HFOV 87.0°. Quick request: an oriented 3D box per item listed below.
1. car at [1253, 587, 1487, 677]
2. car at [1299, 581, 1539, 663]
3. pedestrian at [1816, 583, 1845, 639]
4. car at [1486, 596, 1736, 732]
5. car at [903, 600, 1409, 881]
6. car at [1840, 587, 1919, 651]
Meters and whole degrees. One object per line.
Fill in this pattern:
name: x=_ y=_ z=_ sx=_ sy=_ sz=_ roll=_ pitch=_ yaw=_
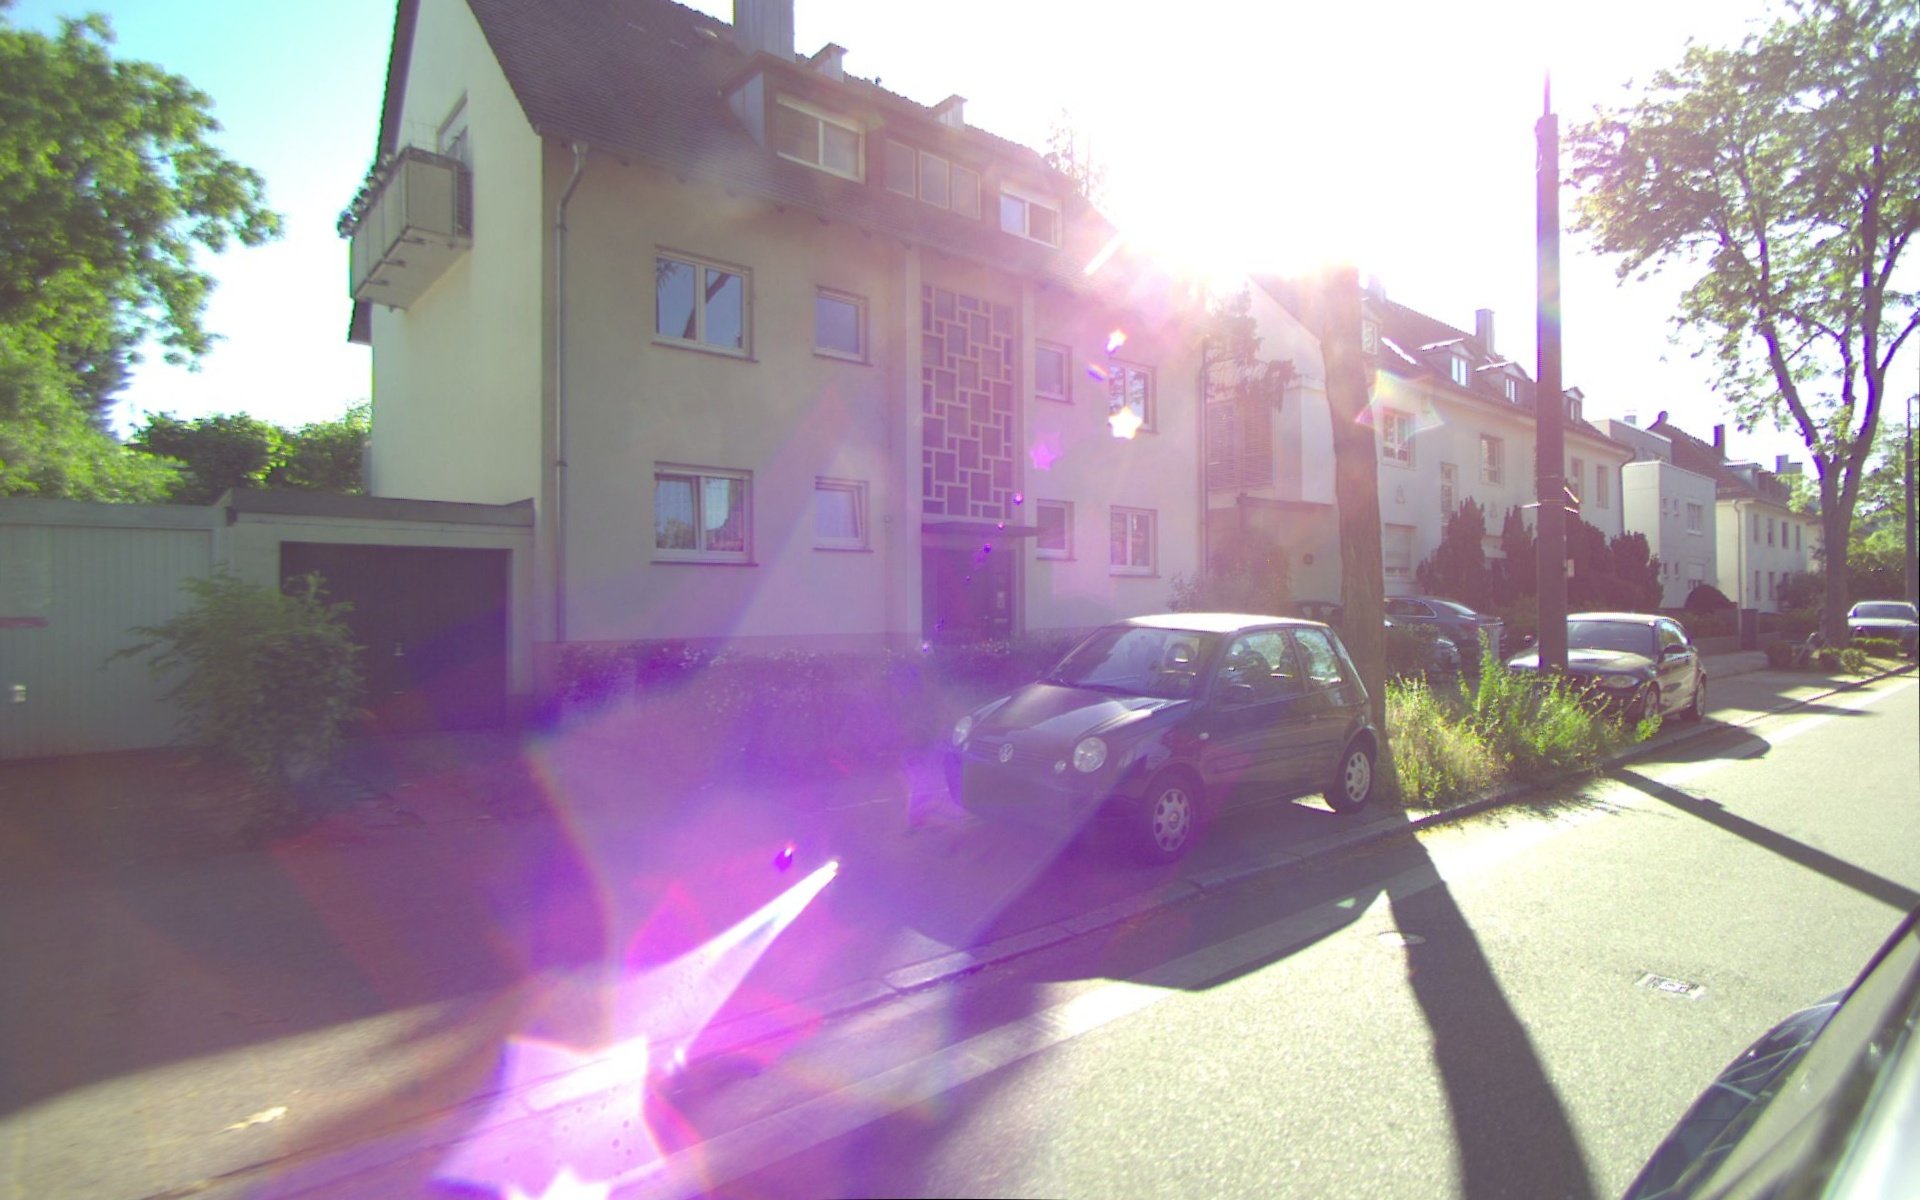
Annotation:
car: x=7.693 y=0.525 z=19.184 sx=3.739 sy=1.508 sz=1.712 roll=1 pitch=1 yaw=44
car: x=9.902 y=0.396 z=22.142 sx=1.824 sy=1.508 sz=4.434 roll=0 pitch=2 yaw=-38
pedestrian: x=30.450 y=0.370 z=35.395 sx=0.719 sy=1.893 sz=0.626 roll=0 pitch=2 yaw=-42
car: x=8.836 y=0.731 z=13.590 sx=4.228 sy=1.466 sz=1.787 roll=0 pitch=2 yaw=-43
car: x=1.522 y=0.746 z=7.138 sx=3.582 sy=1.415 sz=1.630 roll=0 pitch=2 yaw=-41
car: x=28.124 y=0.533 z=30.383 sx=4.400 sy=1.725 sz=1.997 roll=0 pitch=2 yaw=-42
